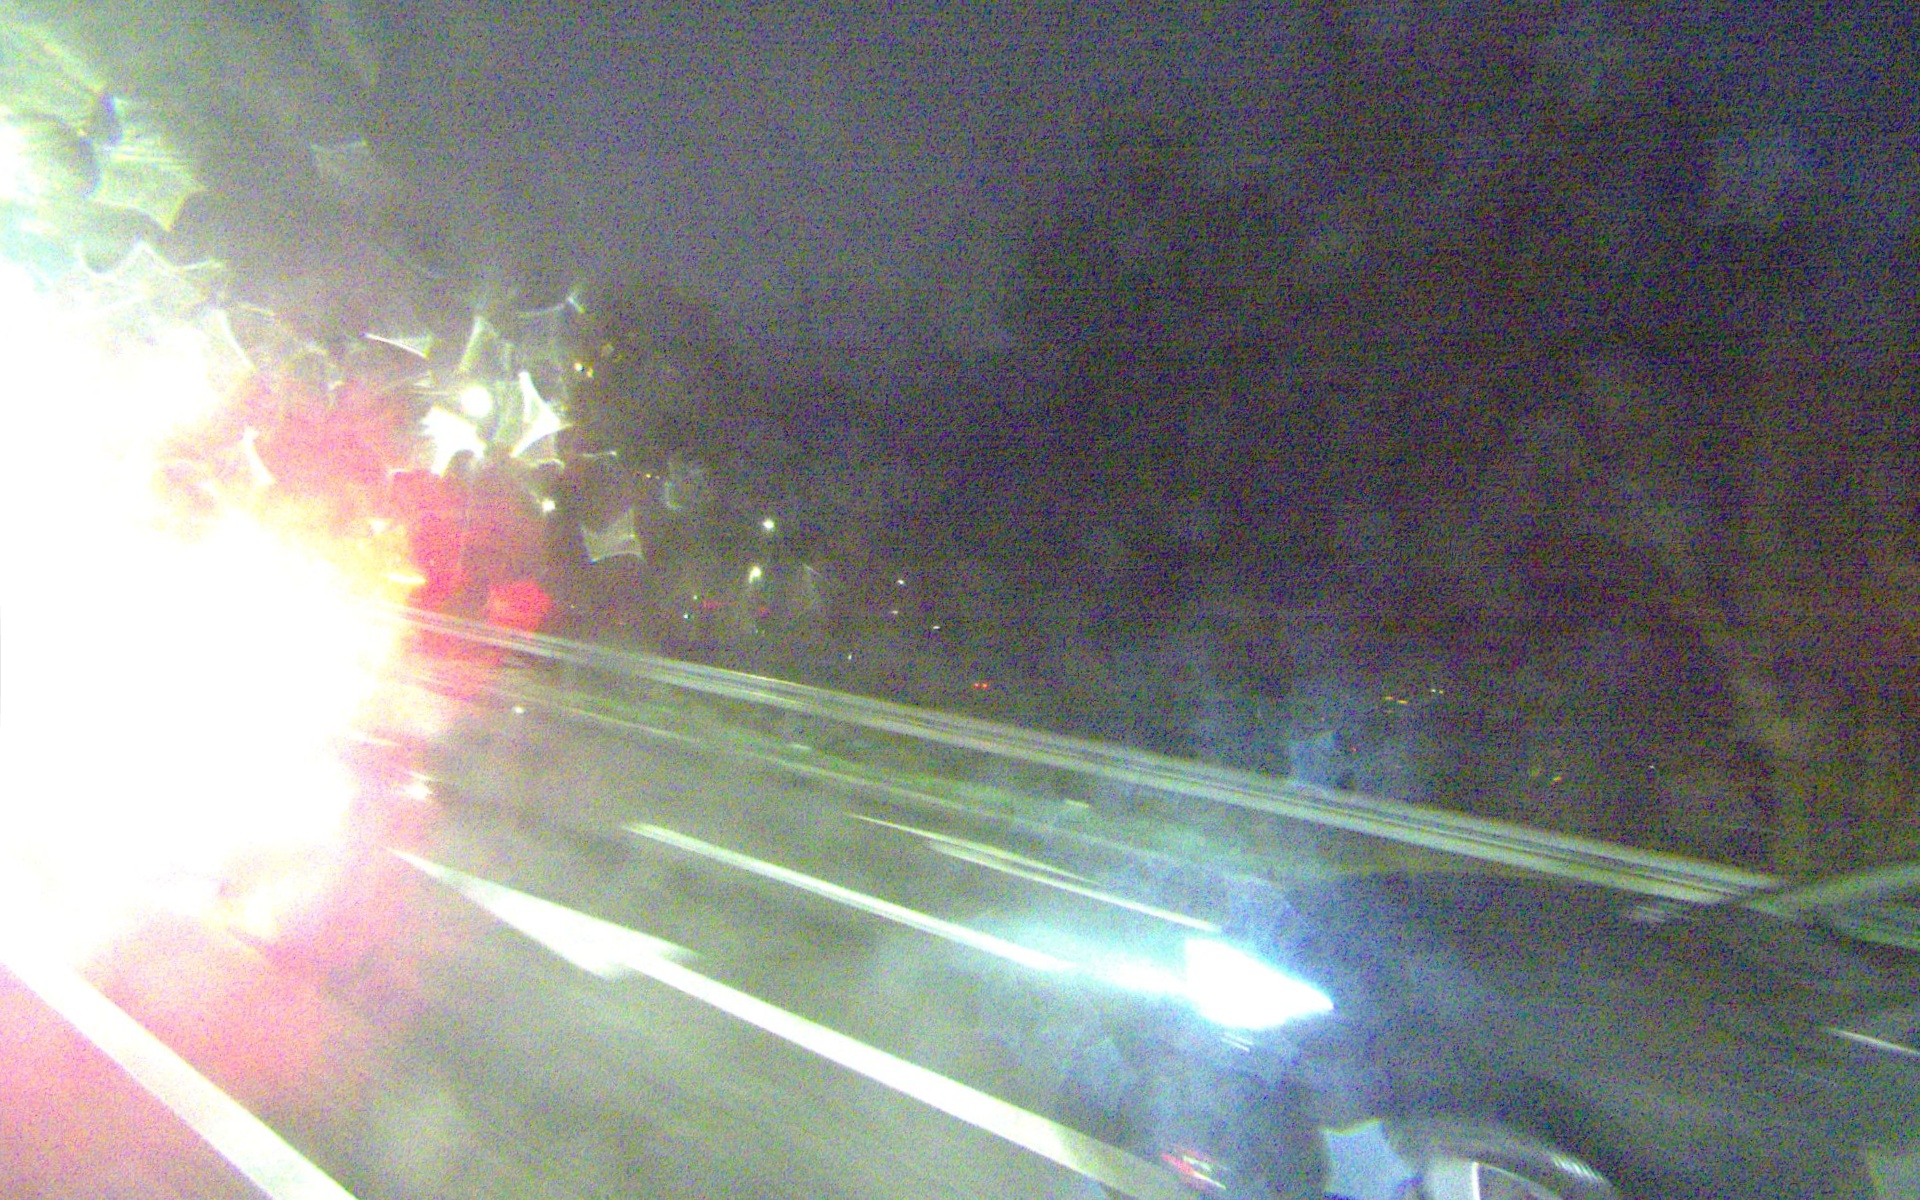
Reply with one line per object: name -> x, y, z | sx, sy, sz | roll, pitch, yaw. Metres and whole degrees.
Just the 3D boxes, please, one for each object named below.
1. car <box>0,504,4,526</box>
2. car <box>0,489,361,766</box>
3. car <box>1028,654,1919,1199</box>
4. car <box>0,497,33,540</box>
car -> -37.342, -3.201, 36.009 | 1.716, 1.360, 4.057 | 9, -2, 26
car -> -6.390, 0.096, 7.369 | 3.895, 1.538, 1.681 | 6, -3, 31
car -> 2.579, 1.194, 2.180 | 4.487, 1.522, 1.677 | 5, -5, 34
car -> -40.053, -3.601, 39.805 | 1.824, 1.536, 4.499 | 9, -2, 26
